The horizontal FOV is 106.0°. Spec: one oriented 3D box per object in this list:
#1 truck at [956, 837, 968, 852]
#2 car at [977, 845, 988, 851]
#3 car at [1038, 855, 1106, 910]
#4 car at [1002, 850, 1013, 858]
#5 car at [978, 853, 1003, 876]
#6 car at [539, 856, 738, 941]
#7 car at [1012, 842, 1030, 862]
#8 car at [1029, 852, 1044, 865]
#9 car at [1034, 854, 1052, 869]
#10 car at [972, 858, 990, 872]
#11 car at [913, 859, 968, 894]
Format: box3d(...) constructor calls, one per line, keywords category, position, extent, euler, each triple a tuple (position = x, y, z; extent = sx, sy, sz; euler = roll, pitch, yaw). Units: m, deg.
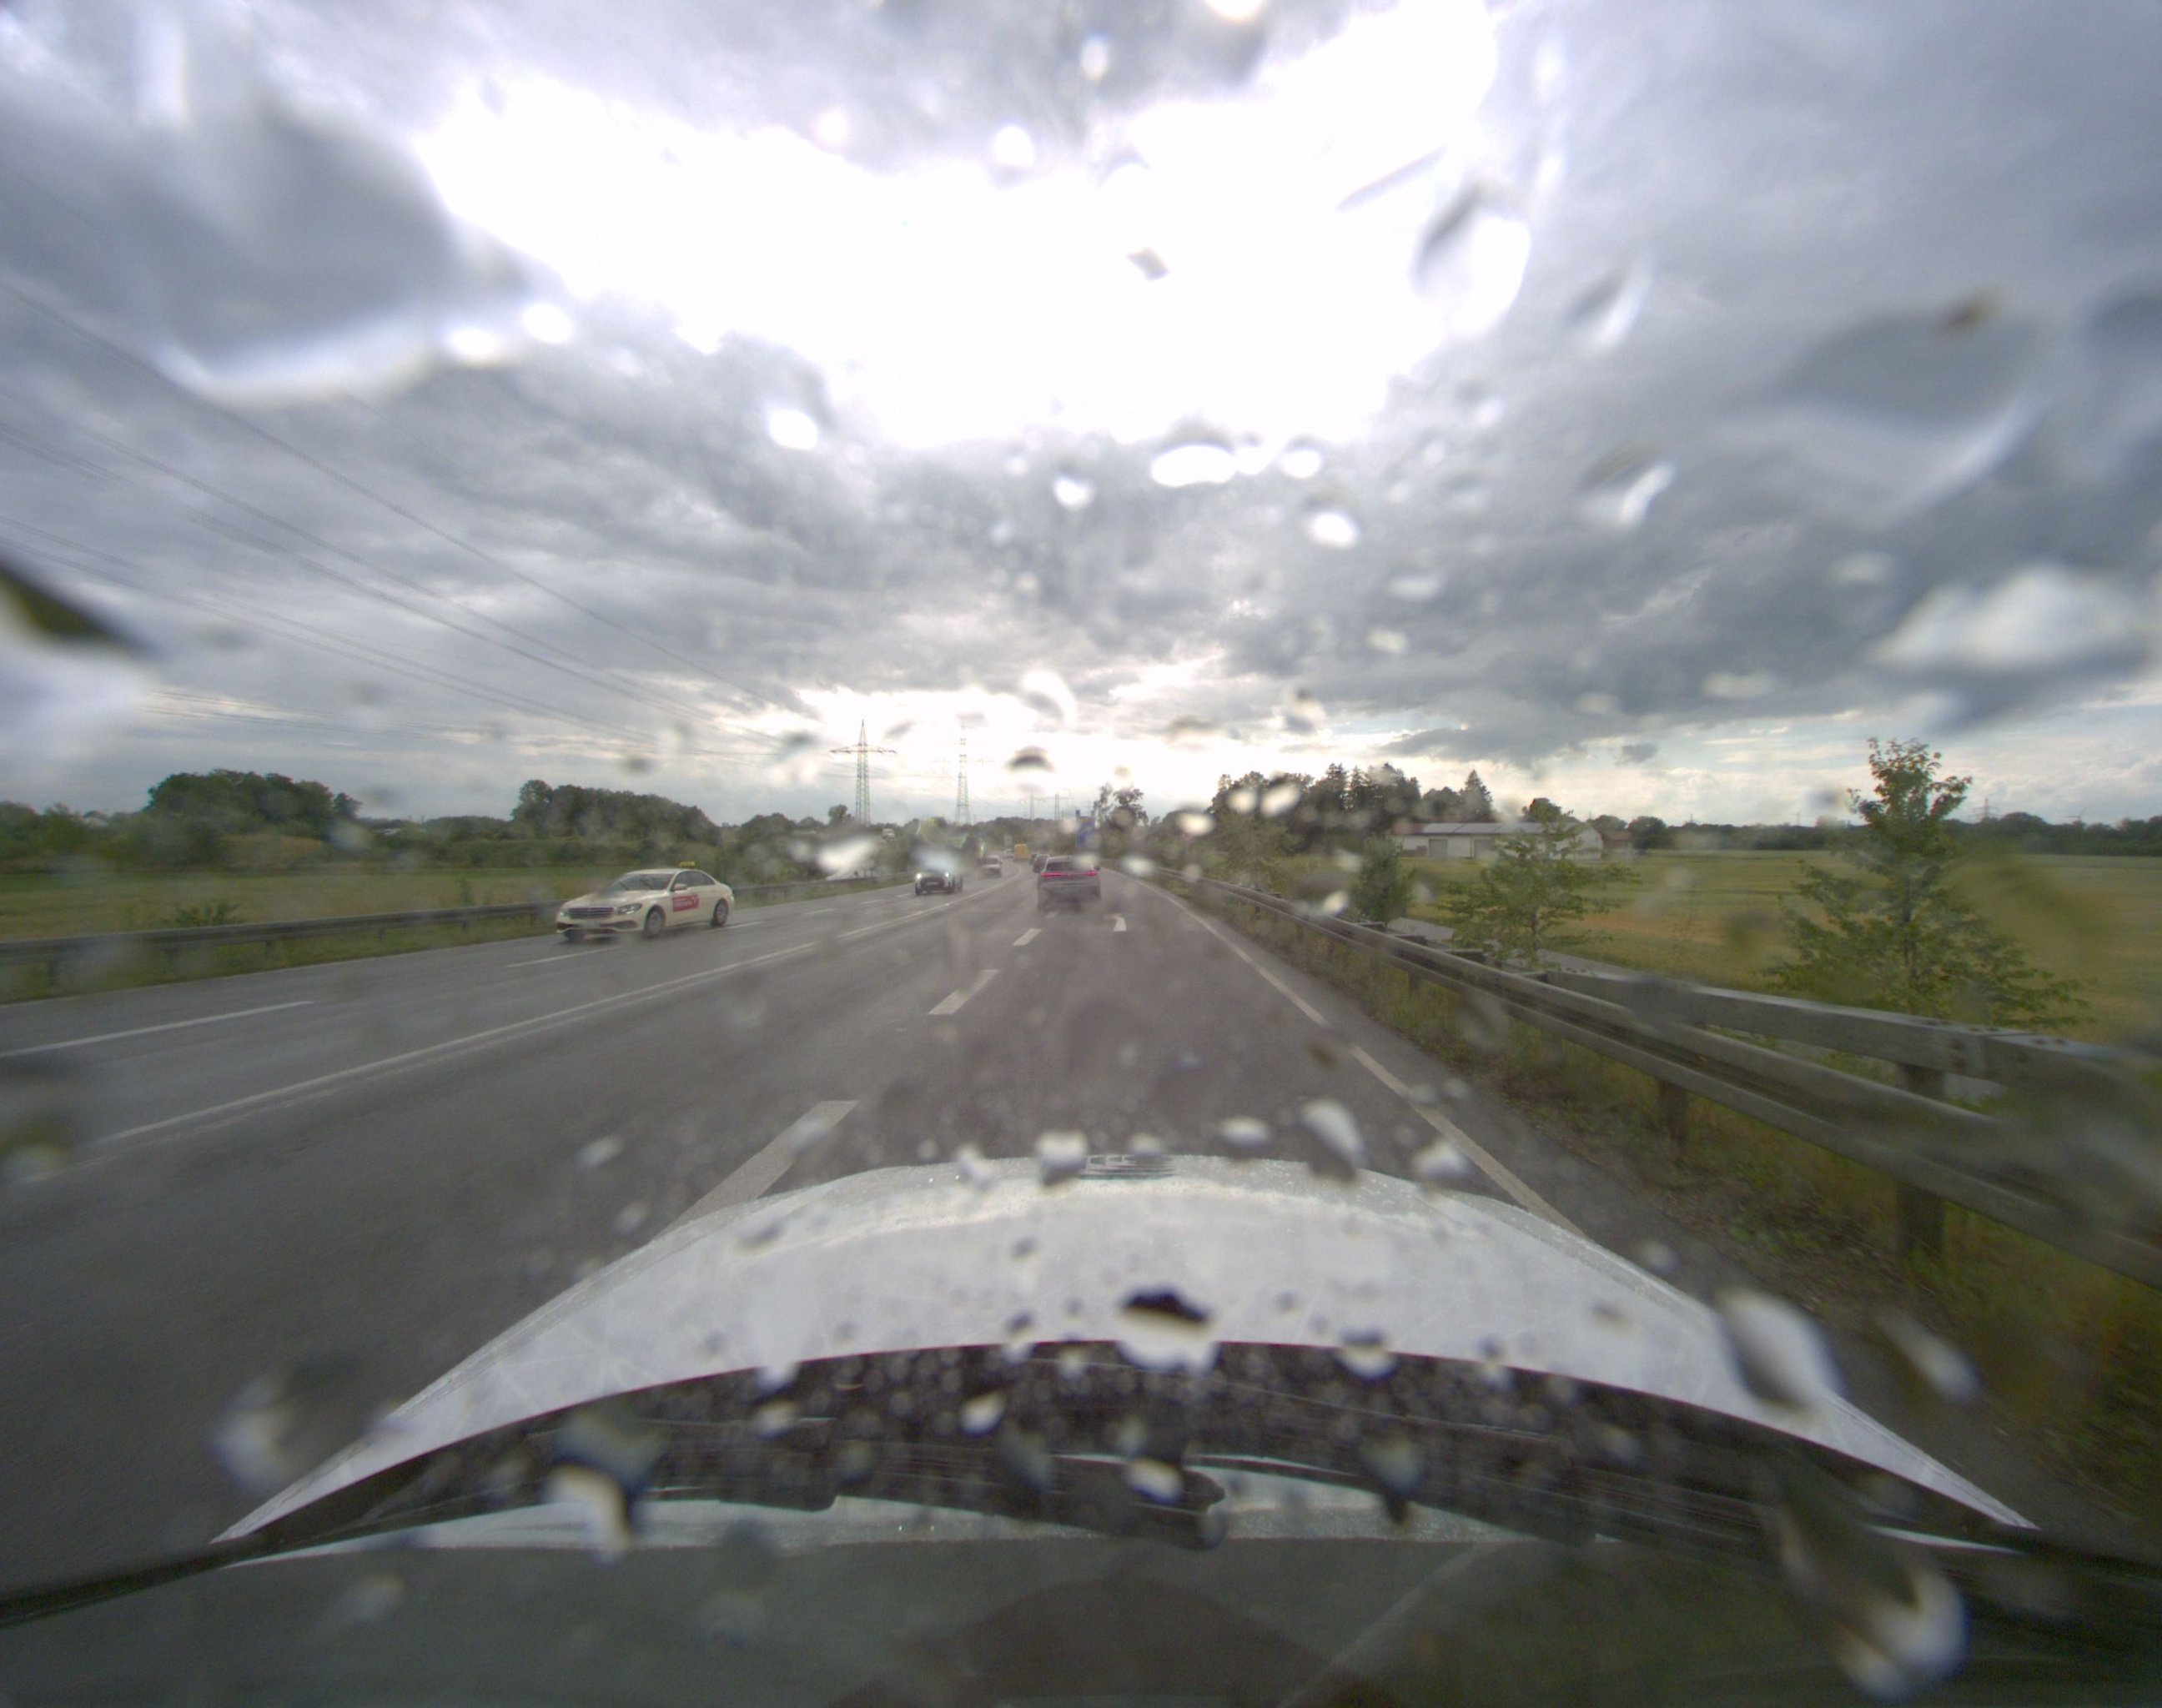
box3d(category="truck", position=(-27.248, -2.101, 186.247), extent=(2.479, 3.292, 7.260), euler=(2, 0, -9))
box3d(category="car", position=(-24.520, -1.569, 202.772), extent=(1.797, 1.441, 3.974), euler=(1, 0, -19))
box3d(category="car", position=(-0.271, 0.762, 23.865), extent=(1.786, 1.441, 3.998), euler=(-2, 0, -1))
box3d(category="car", position=(-13.059, -0.038, 144.957), extent=(1.789, 1.441, 3.992), euler=(-2, 0, -6))
box3d(category="car", position=(-7.112, 0.805, 63.800), extent=(1.788, 1.666, 4.359), euler=(1, 0, -7))
box3d(category="car", position=(-9.772, 0.896, 18.506), extent=(1.936, 1.660, 4.646), euler=(0, 0, 1))
box3d(category="car", position=(-8.968, -0.297, 122.100), extent=(2.568, 2.725, 7.185), euler=(-2, 0, -4))
box3d(category="car", position=(-5.620, 0.581, 102.495), extent=(1.788, 1.541, 3.994), euler=(-1, 0, -4))
box3d(category="car", position=(-3.906, 0.735, 83.950), extent=(1.788, 1.441, 3.994), euler=(0, 0, -4))
box3d(category="car", position=(-10.696, 1.151, 87.149), extent=(1.894, 1.441, 4.889), euler=(1, -1, -7))
box3d(category="car", position=(-6.573, 1.018, 38.552), extent=(1.760, 1.500, 4.211), euler=(-1, 0, 1))
